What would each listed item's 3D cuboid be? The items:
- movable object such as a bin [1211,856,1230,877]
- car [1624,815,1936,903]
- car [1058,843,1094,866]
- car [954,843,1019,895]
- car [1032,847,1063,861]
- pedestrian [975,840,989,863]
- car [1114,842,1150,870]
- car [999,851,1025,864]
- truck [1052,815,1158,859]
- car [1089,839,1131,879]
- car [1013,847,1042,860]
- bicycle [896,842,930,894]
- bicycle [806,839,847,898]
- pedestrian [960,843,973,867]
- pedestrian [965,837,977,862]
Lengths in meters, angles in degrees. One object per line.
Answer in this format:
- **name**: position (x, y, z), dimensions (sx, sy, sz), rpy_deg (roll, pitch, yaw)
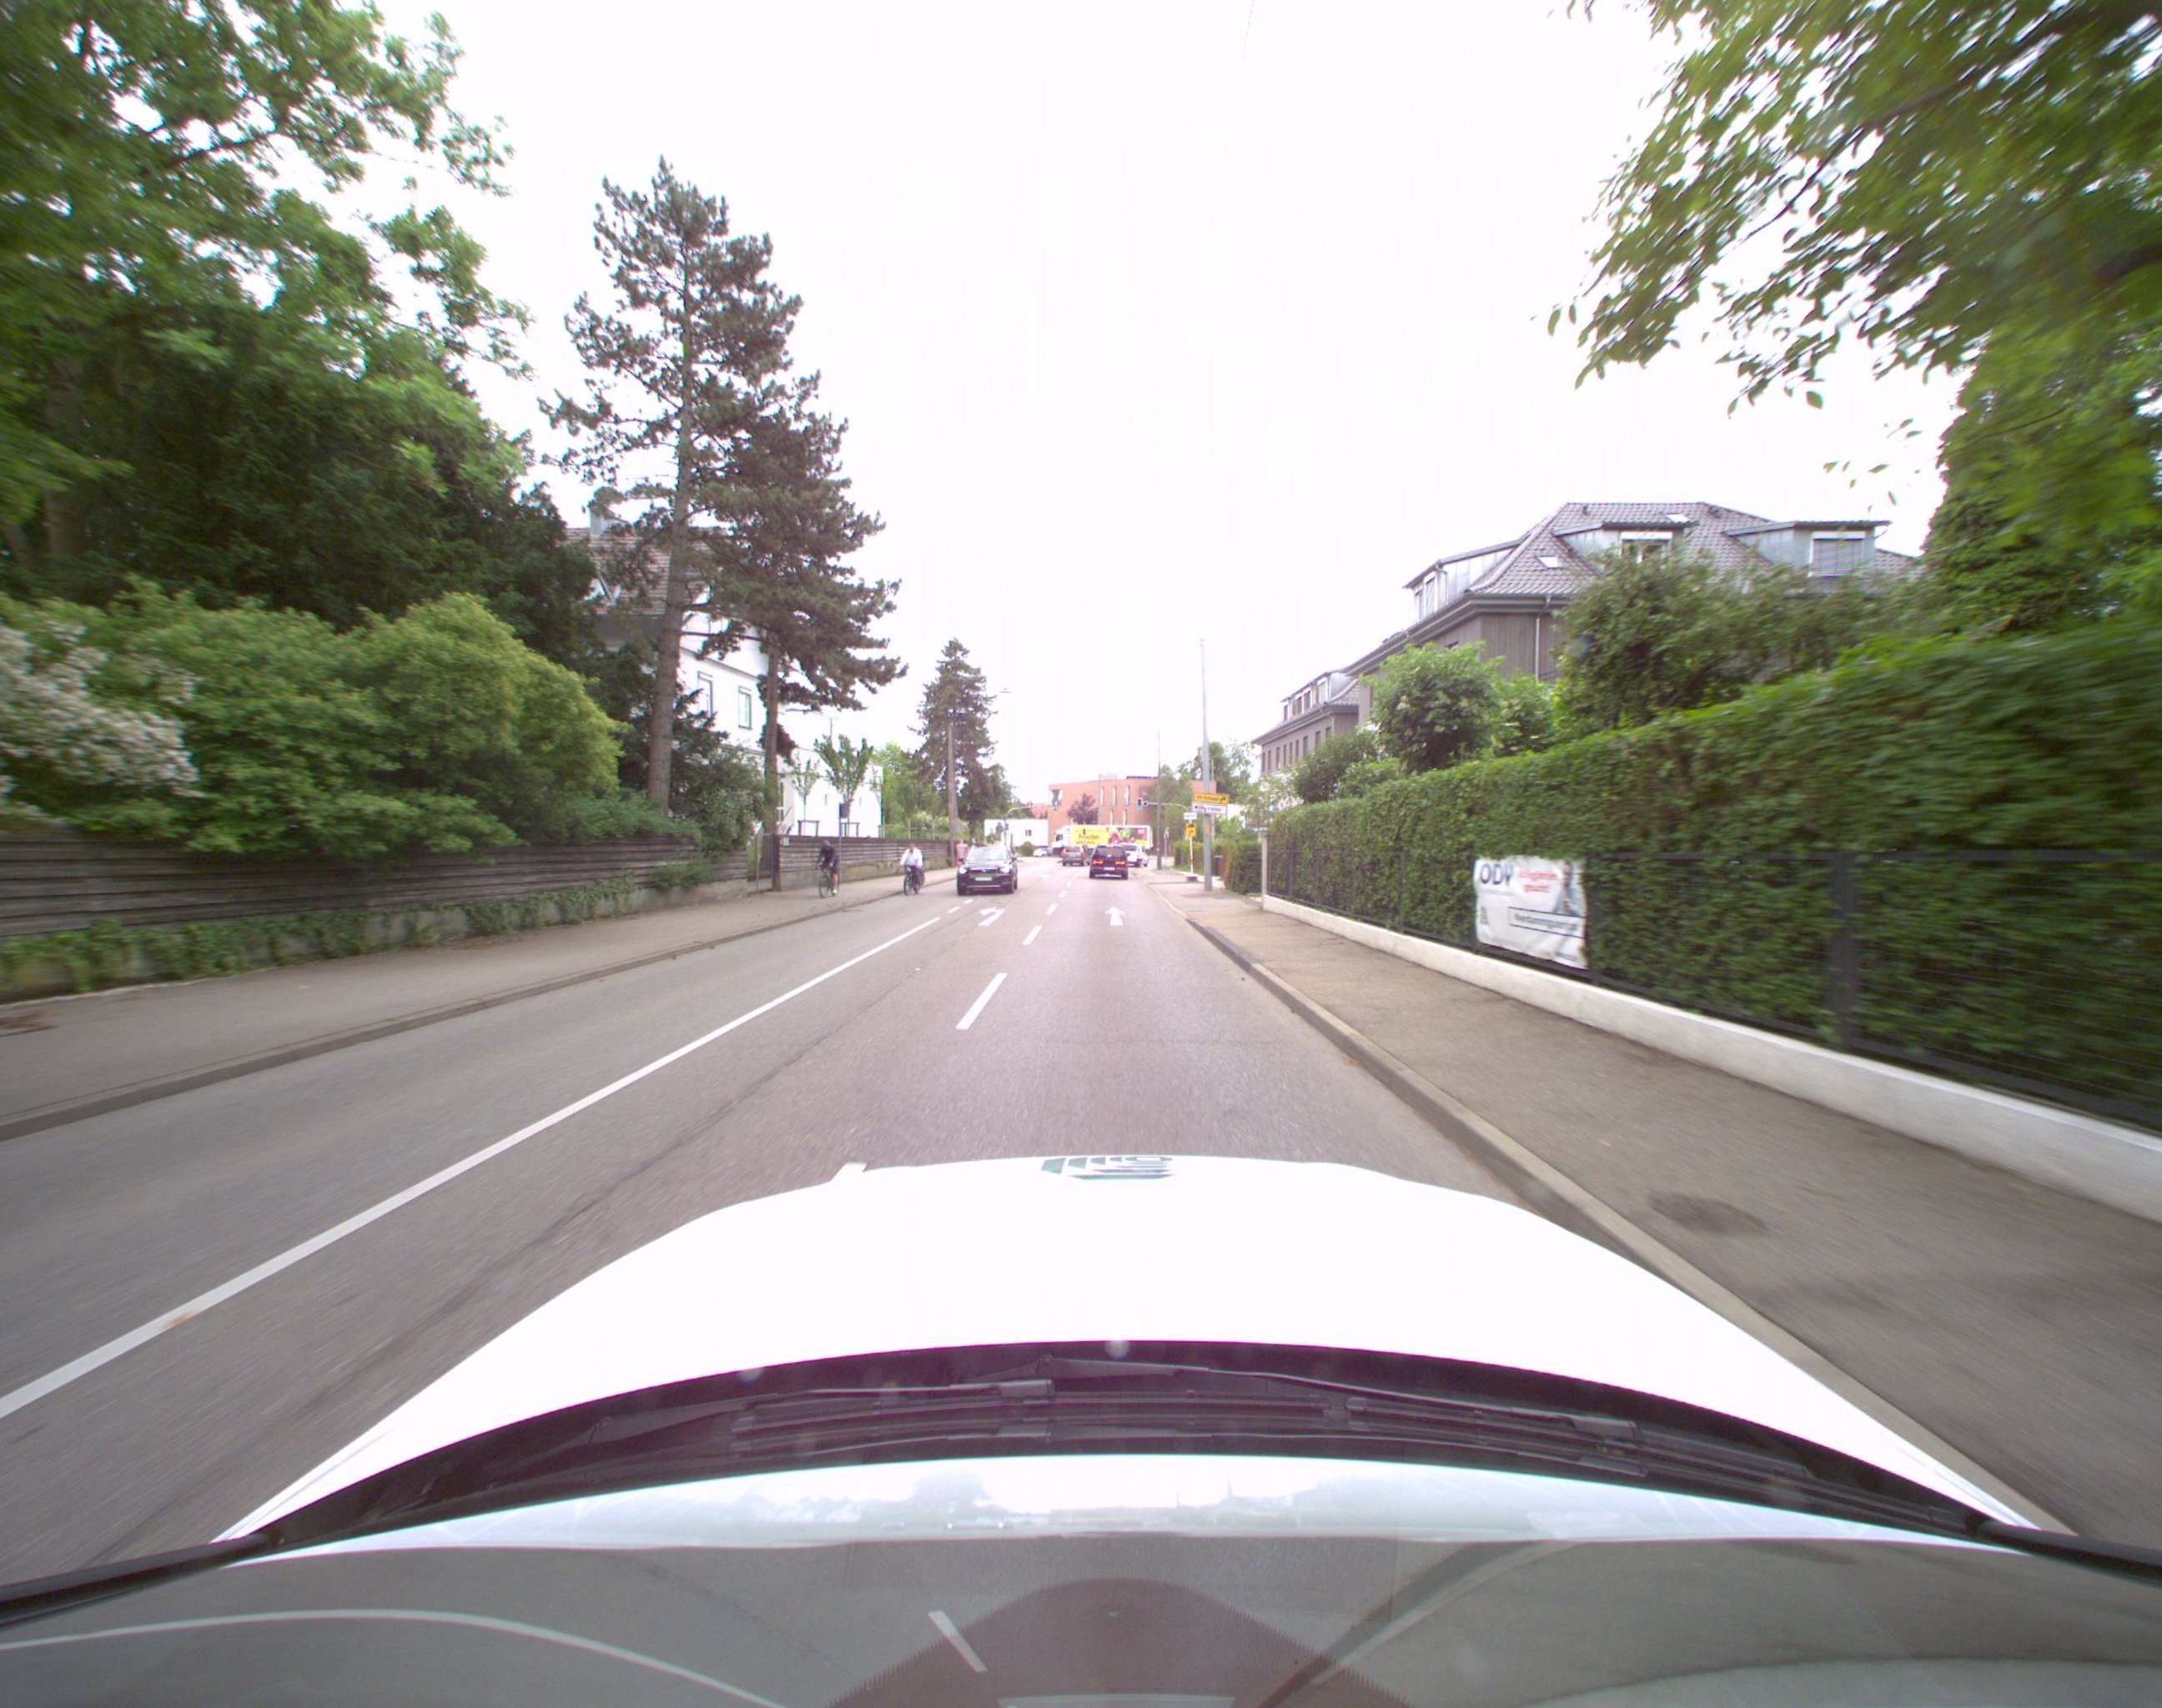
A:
- **movable object such as a bin**: position (7.467, 0.681, 43.598), dimensions (0.719, 1.073, 0.675), rpy_deg (3, -1, -36)
- **car**: position (12.621, 0.076, 15.076), dimensions (3.953, 1.464, 2.010), rpy_deg (0, 0, 21)
- **car**: position (-0.346, 0.039, 62.440), dimensions (1.880, 1.706, 4.014), rpy_deg (1, 0, 12)
- **car**: position (-3.203, 0.470, 28.315), dimensions (1.827, 1.630, 4.280), rpy_deg (-1, 1, -2)
- **car**: position (-4.830, -0.027, 118.074), dimensions (4.009, 2.013, 1.983), rpy_deg (0, 1, -27)
- **pedestrian**: position (-7.446, -0.183, 61.169), dimensions (0.757, 1.734, 0.687), rpy_deg (1, 0, -45)
- **car**: position (4.187, 0.105, 66.227), dimensions (1.948, 2.013, 4.446), rpy_deg (4, 2, 14)
- **car**: position (-11.487, 0.603, 135.338), dimensions (3.994, 2.013, 1.990), rpy_deg (1, 0, -15)
- **truck**: position (2.811, -1.926, 92.958), dimensions (11.693, 4.734, 3.142), rpy_deg (1, 1, 7)
- **car**: position (1.450, 0.282, 40.743), dimensions (1.986, 1.882, 4.001), rpy_deg (0, -1, 1)
- **car**: position (-8.200, -0.098, 125.158), dimensions (4.008, 2.013, 1.983), rpy_deg (0, 1, -27)
- **bicycle**: position (-5.856, 0.475, 28.414), dimensions (0.756, 1.744, 1.871), rpy_deg (-1, 0, 0)
- **bicycle**: position (-7.617, 0.410, 24.487), dimensions (0.560, 1.676, 1.981), rpy_deg (1, 0, 0)
- **pedestrian**: position (-8.491, 0.048, 60.366), dimensions (0.818, 1.763, 0.861), rpy_deg (1, 0, -22)
- **pedestrian**: position (-8.194, -0.354, 60.597), dimensions (0.754, 1.837, 0.609), rpy_deg (1, 0, -28)
